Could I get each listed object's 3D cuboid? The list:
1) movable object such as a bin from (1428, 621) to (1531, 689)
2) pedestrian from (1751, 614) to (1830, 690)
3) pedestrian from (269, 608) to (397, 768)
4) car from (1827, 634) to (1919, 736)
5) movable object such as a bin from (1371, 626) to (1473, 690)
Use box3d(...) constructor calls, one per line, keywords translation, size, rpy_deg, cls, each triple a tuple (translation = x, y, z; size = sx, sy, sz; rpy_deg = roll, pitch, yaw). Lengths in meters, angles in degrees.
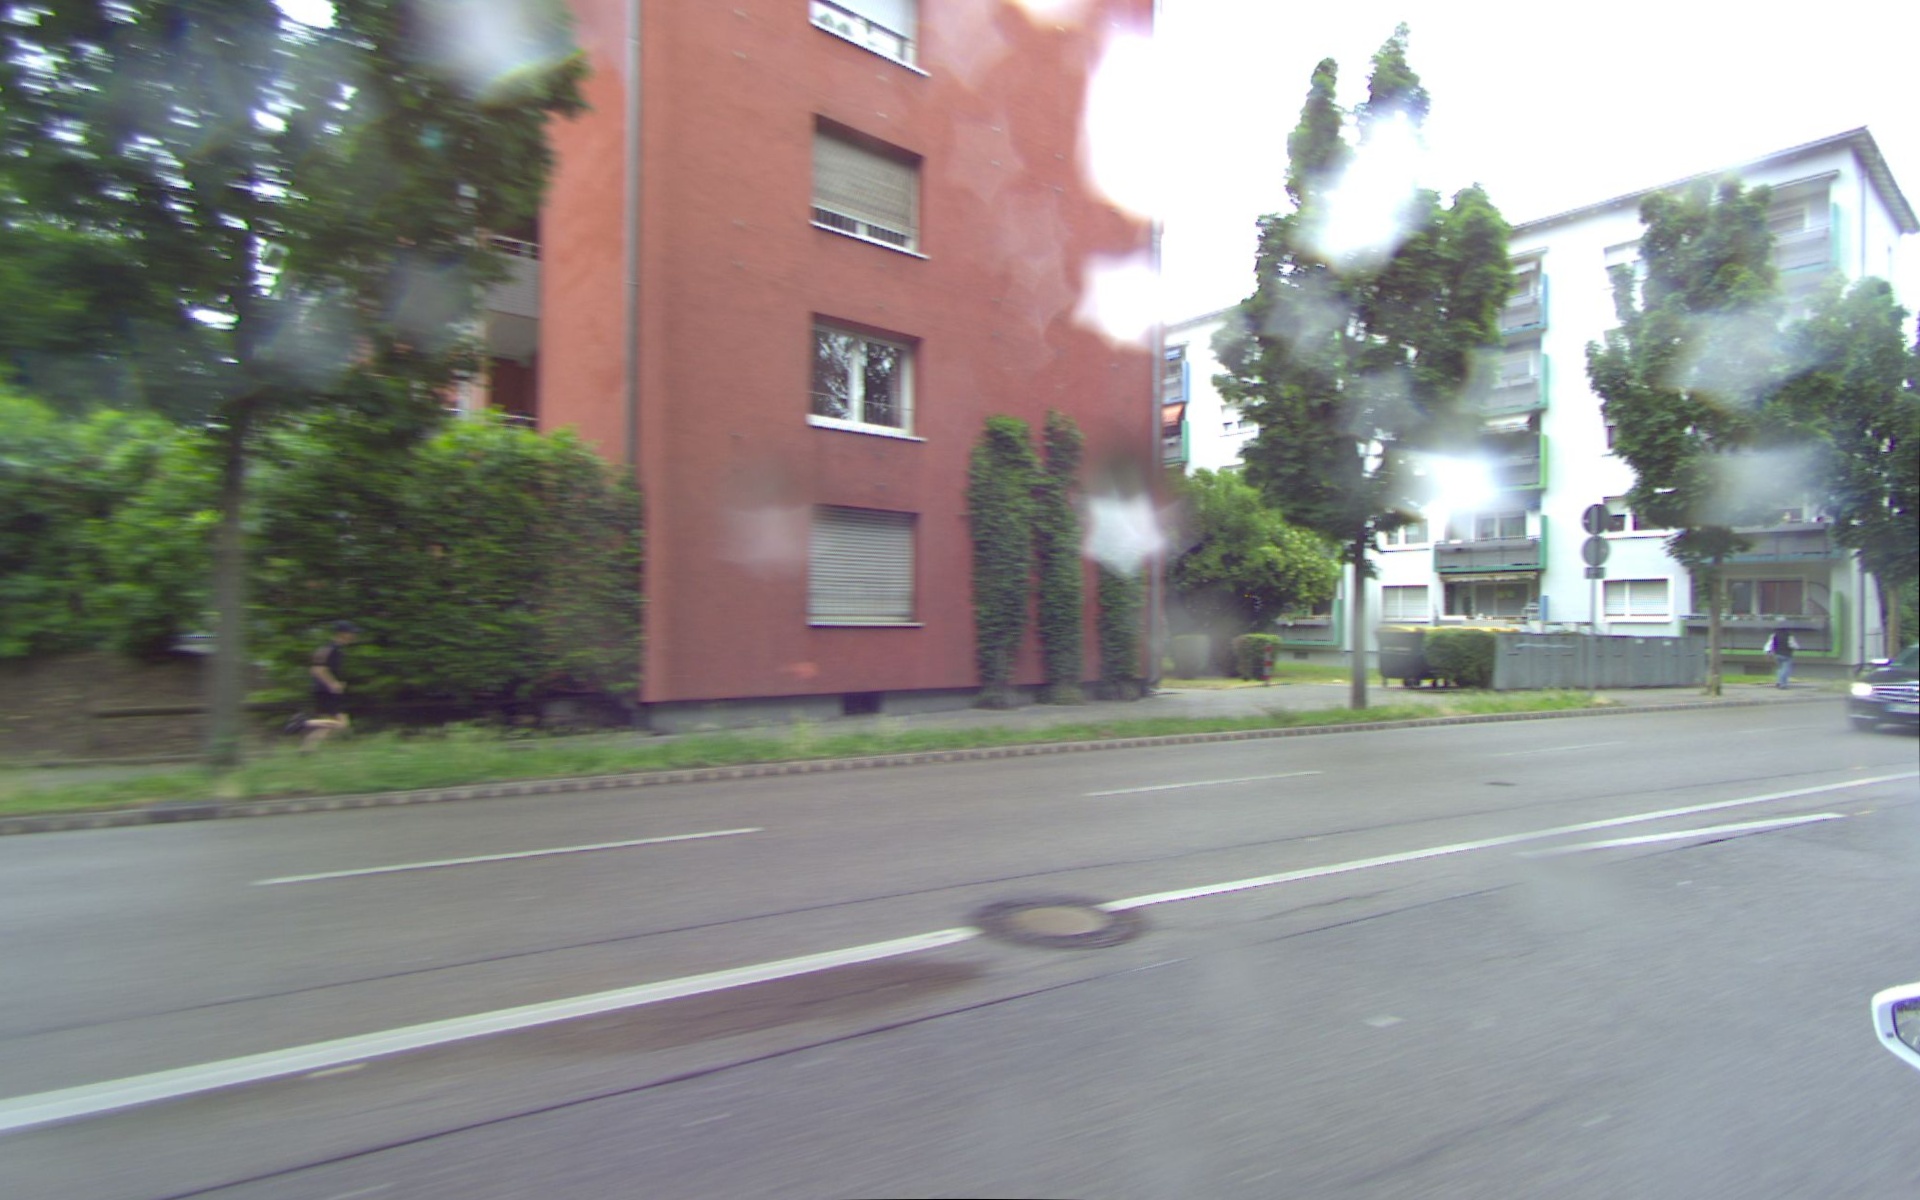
box3d(translation=(12.018, 1.242, 23.236), size=(2.063, 1.504, 1.209), rpy_deg=(1, -1, -31), cls="movable object such as a bin")
box3d(translation=(20.611, 1.280, 24.937), size=(1.247, 1.828, 1.130), rpy_deg=(1, -1, -28), cls="pedestrian")
box3d(translation=(-6.387, 0.859, 10.249), size=(1.058, 1.537, 0.688), rpy_deg=(1, -2, -34), cls="pedestrian")
box3d(translation=(15.079, 1.213, 15.067), size=(4.309, 1.403, 1.833), rpy_deg=(1, -3, -31), cls="car")
box3d(translation=(10.173, 1.238, 22.126), size=(1.943, 1.349, 1.151), rpy_deg=(1, -2, -31), cls="movable object such as a bin")
